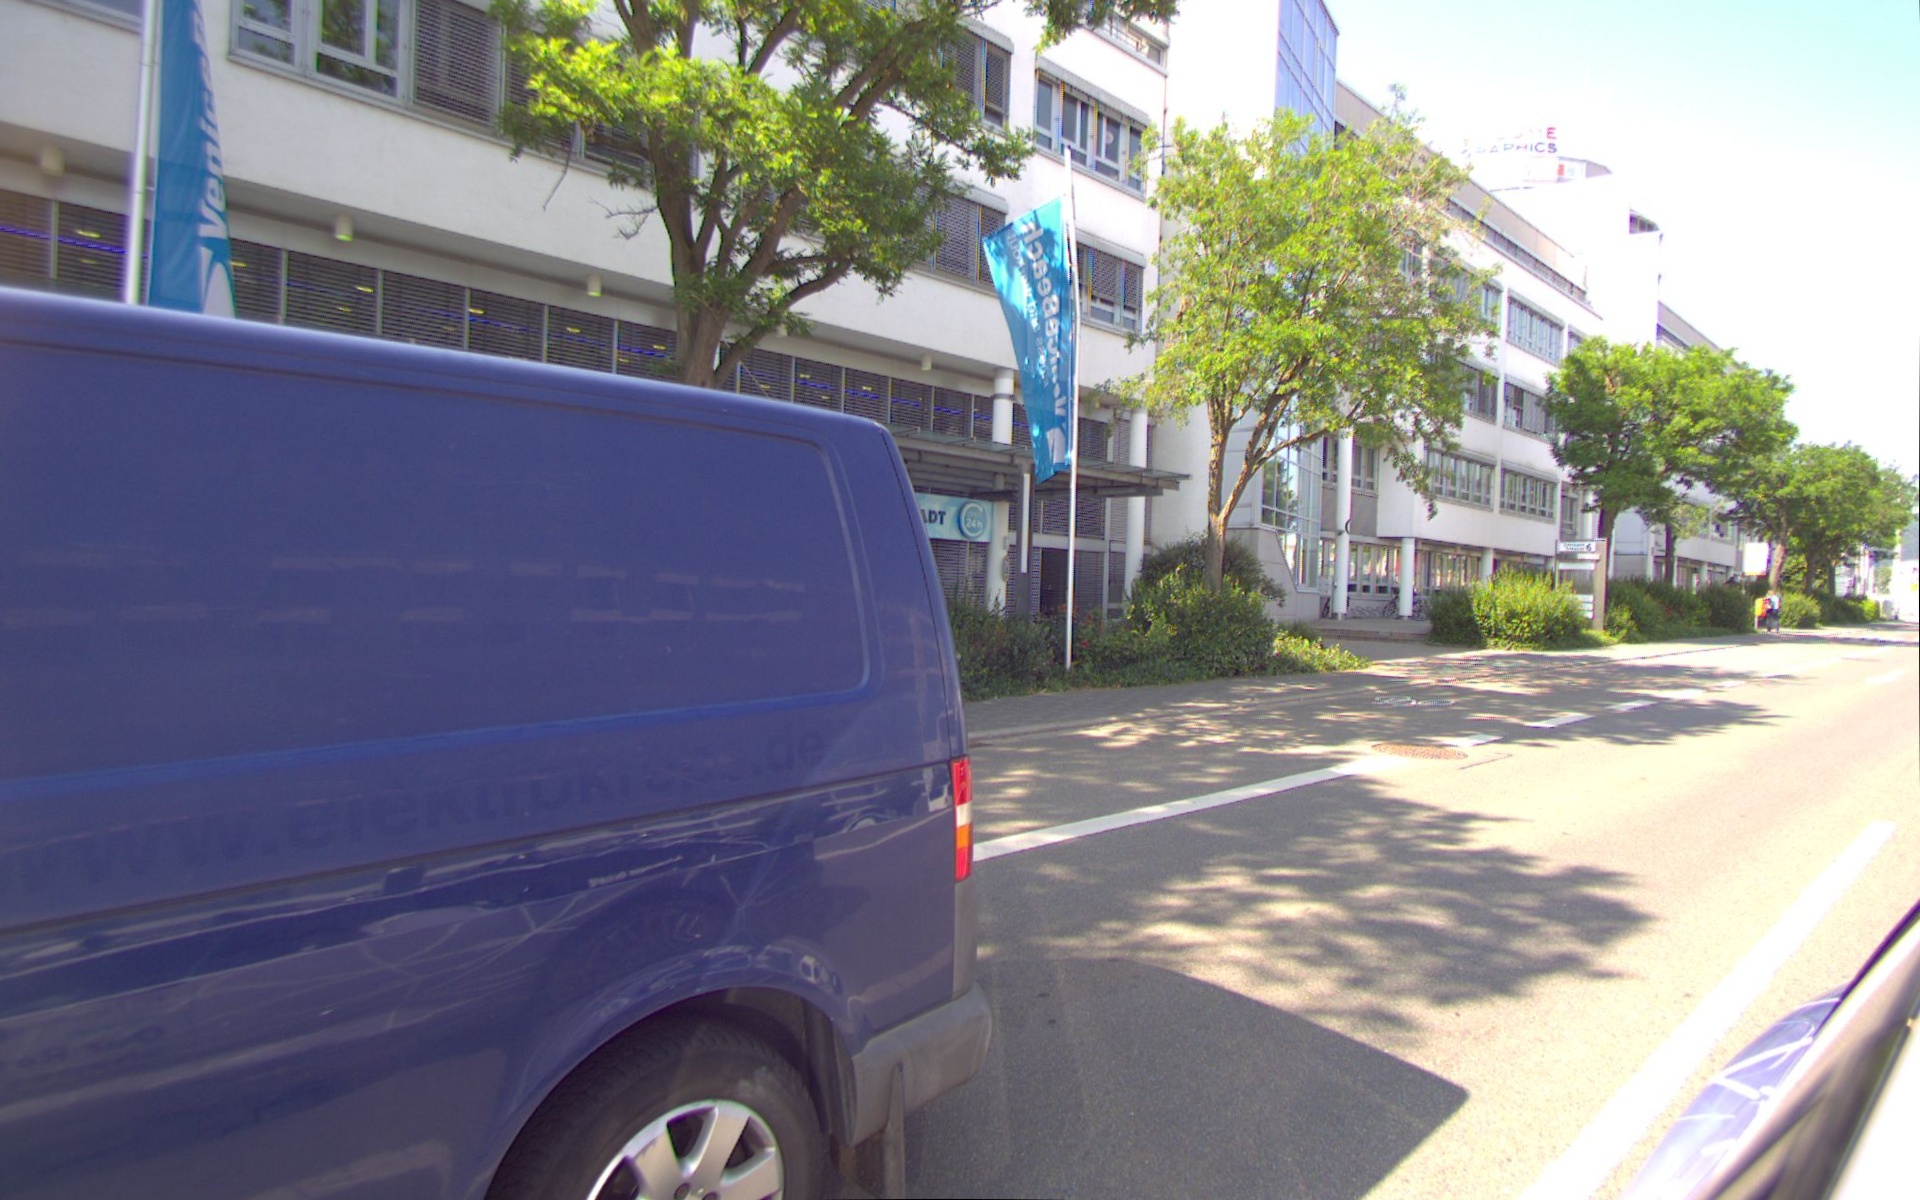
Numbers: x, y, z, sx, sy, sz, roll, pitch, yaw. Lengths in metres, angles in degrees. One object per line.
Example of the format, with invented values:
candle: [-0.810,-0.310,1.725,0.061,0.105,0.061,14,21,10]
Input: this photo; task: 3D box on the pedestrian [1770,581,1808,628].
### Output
pedestrian: [35.197,0.169,42.944,1.267,1.909,0.942,0,4,-41]

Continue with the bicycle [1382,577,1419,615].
bicycle: [16.345,-0.148,37.519,1.852,1.371,0.506,0,1,-41]

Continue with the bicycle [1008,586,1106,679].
bicycle: [1.529,0.476,15.643,0.504,1.346,1.856,2,1,41]

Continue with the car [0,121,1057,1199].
car: [-2.238,0.407,1.541,4.806,1.972,1.997,-1,2,-41]

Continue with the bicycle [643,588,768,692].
bicycle: [-3.633,0.534,14.384,1.868,1.346,0.501,2,1,30]

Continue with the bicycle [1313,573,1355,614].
bicycle: [12.905,-0.216,34.896,1.852,1.371,0.506,0,1,-41]
